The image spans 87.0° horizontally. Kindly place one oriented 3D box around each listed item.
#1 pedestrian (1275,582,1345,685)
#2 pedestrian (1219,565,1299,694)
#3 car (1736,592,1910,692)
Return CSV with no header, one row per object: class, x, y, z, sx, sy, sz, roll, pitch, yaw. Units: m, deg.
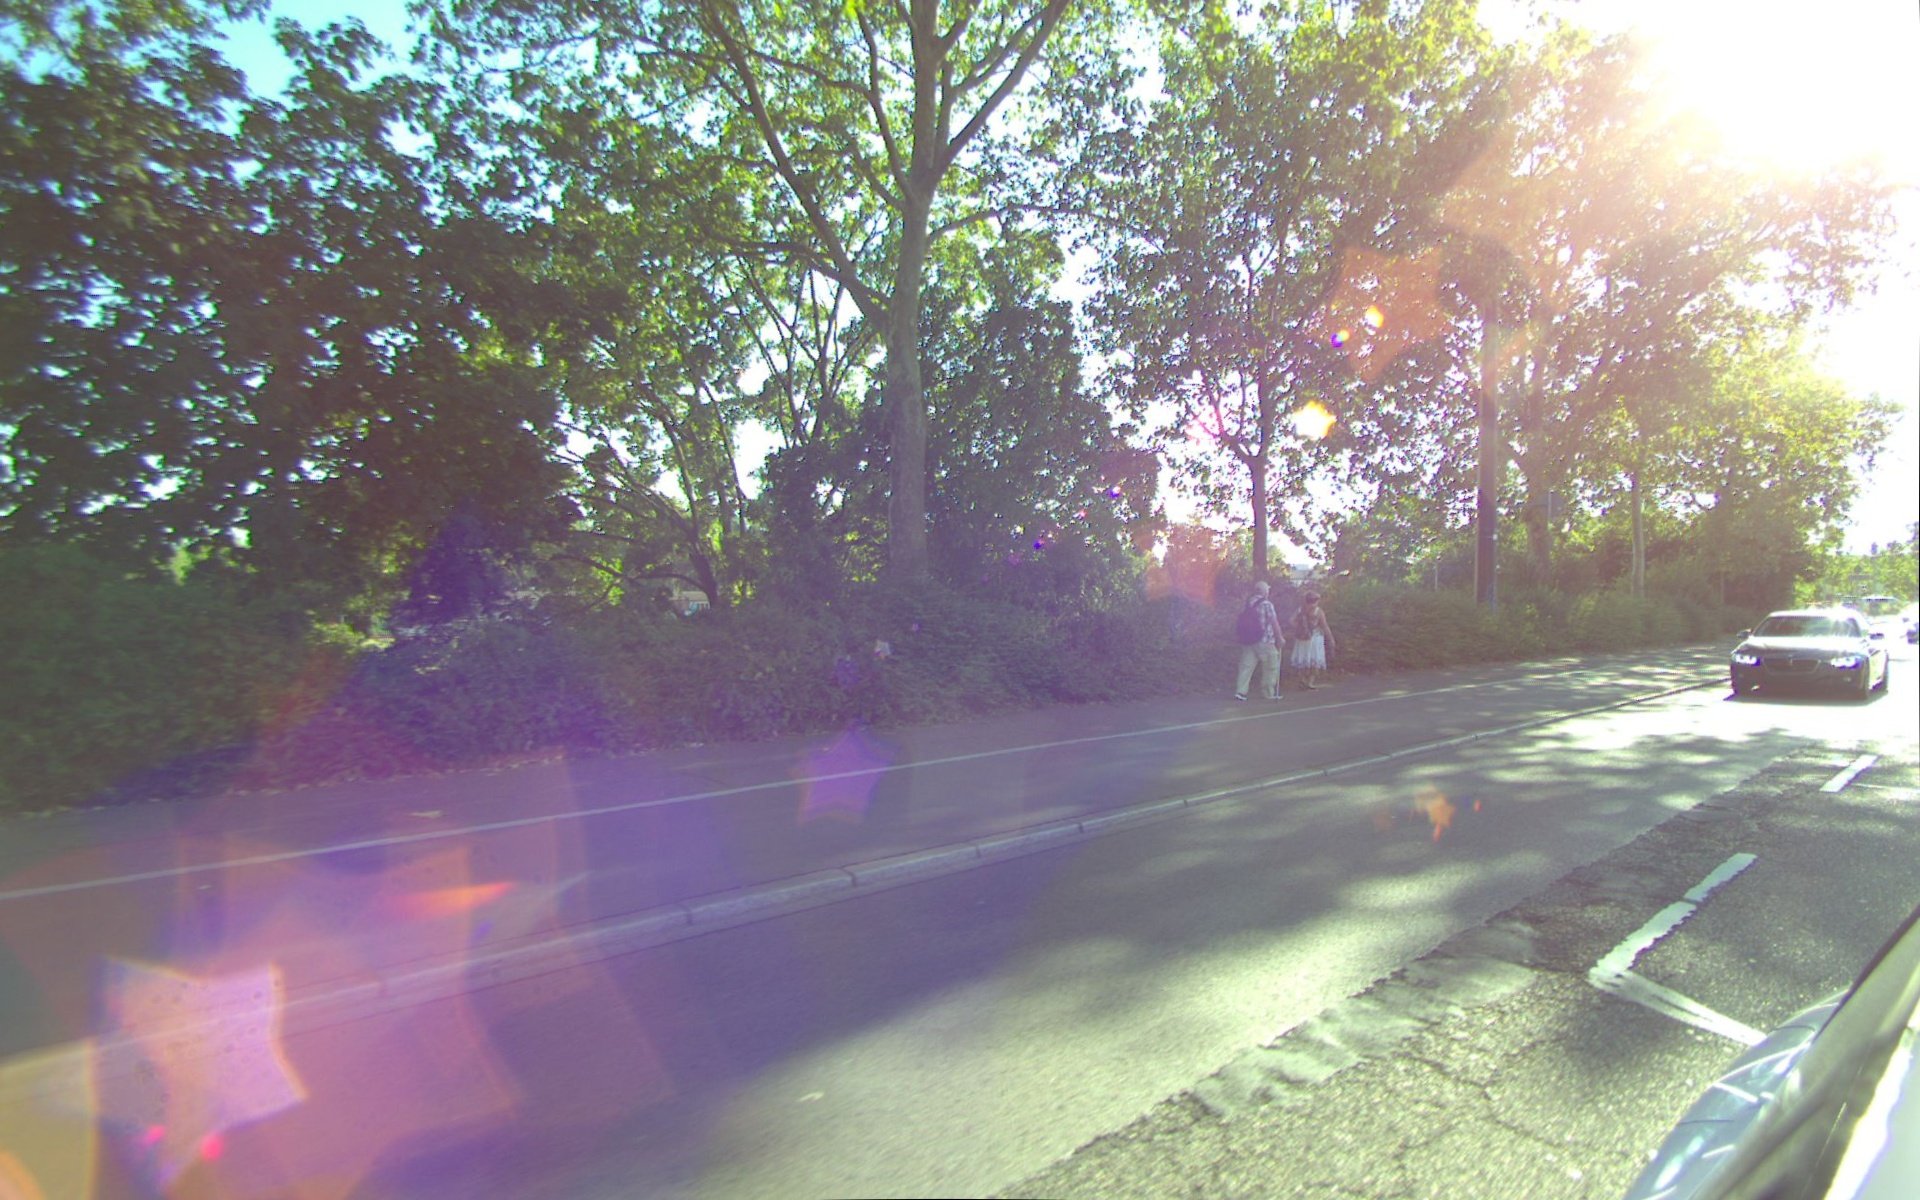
pedestrian,5.293,0.485,15.325,0.709,1.499,0.724,0,1,-41
pedestrian,4.179,0.389,14.144,0.799,1.729,0.723,0,1,-41
car,15.211,0.630,17.750,4.510,1.486,1.867,-1,0,-44
